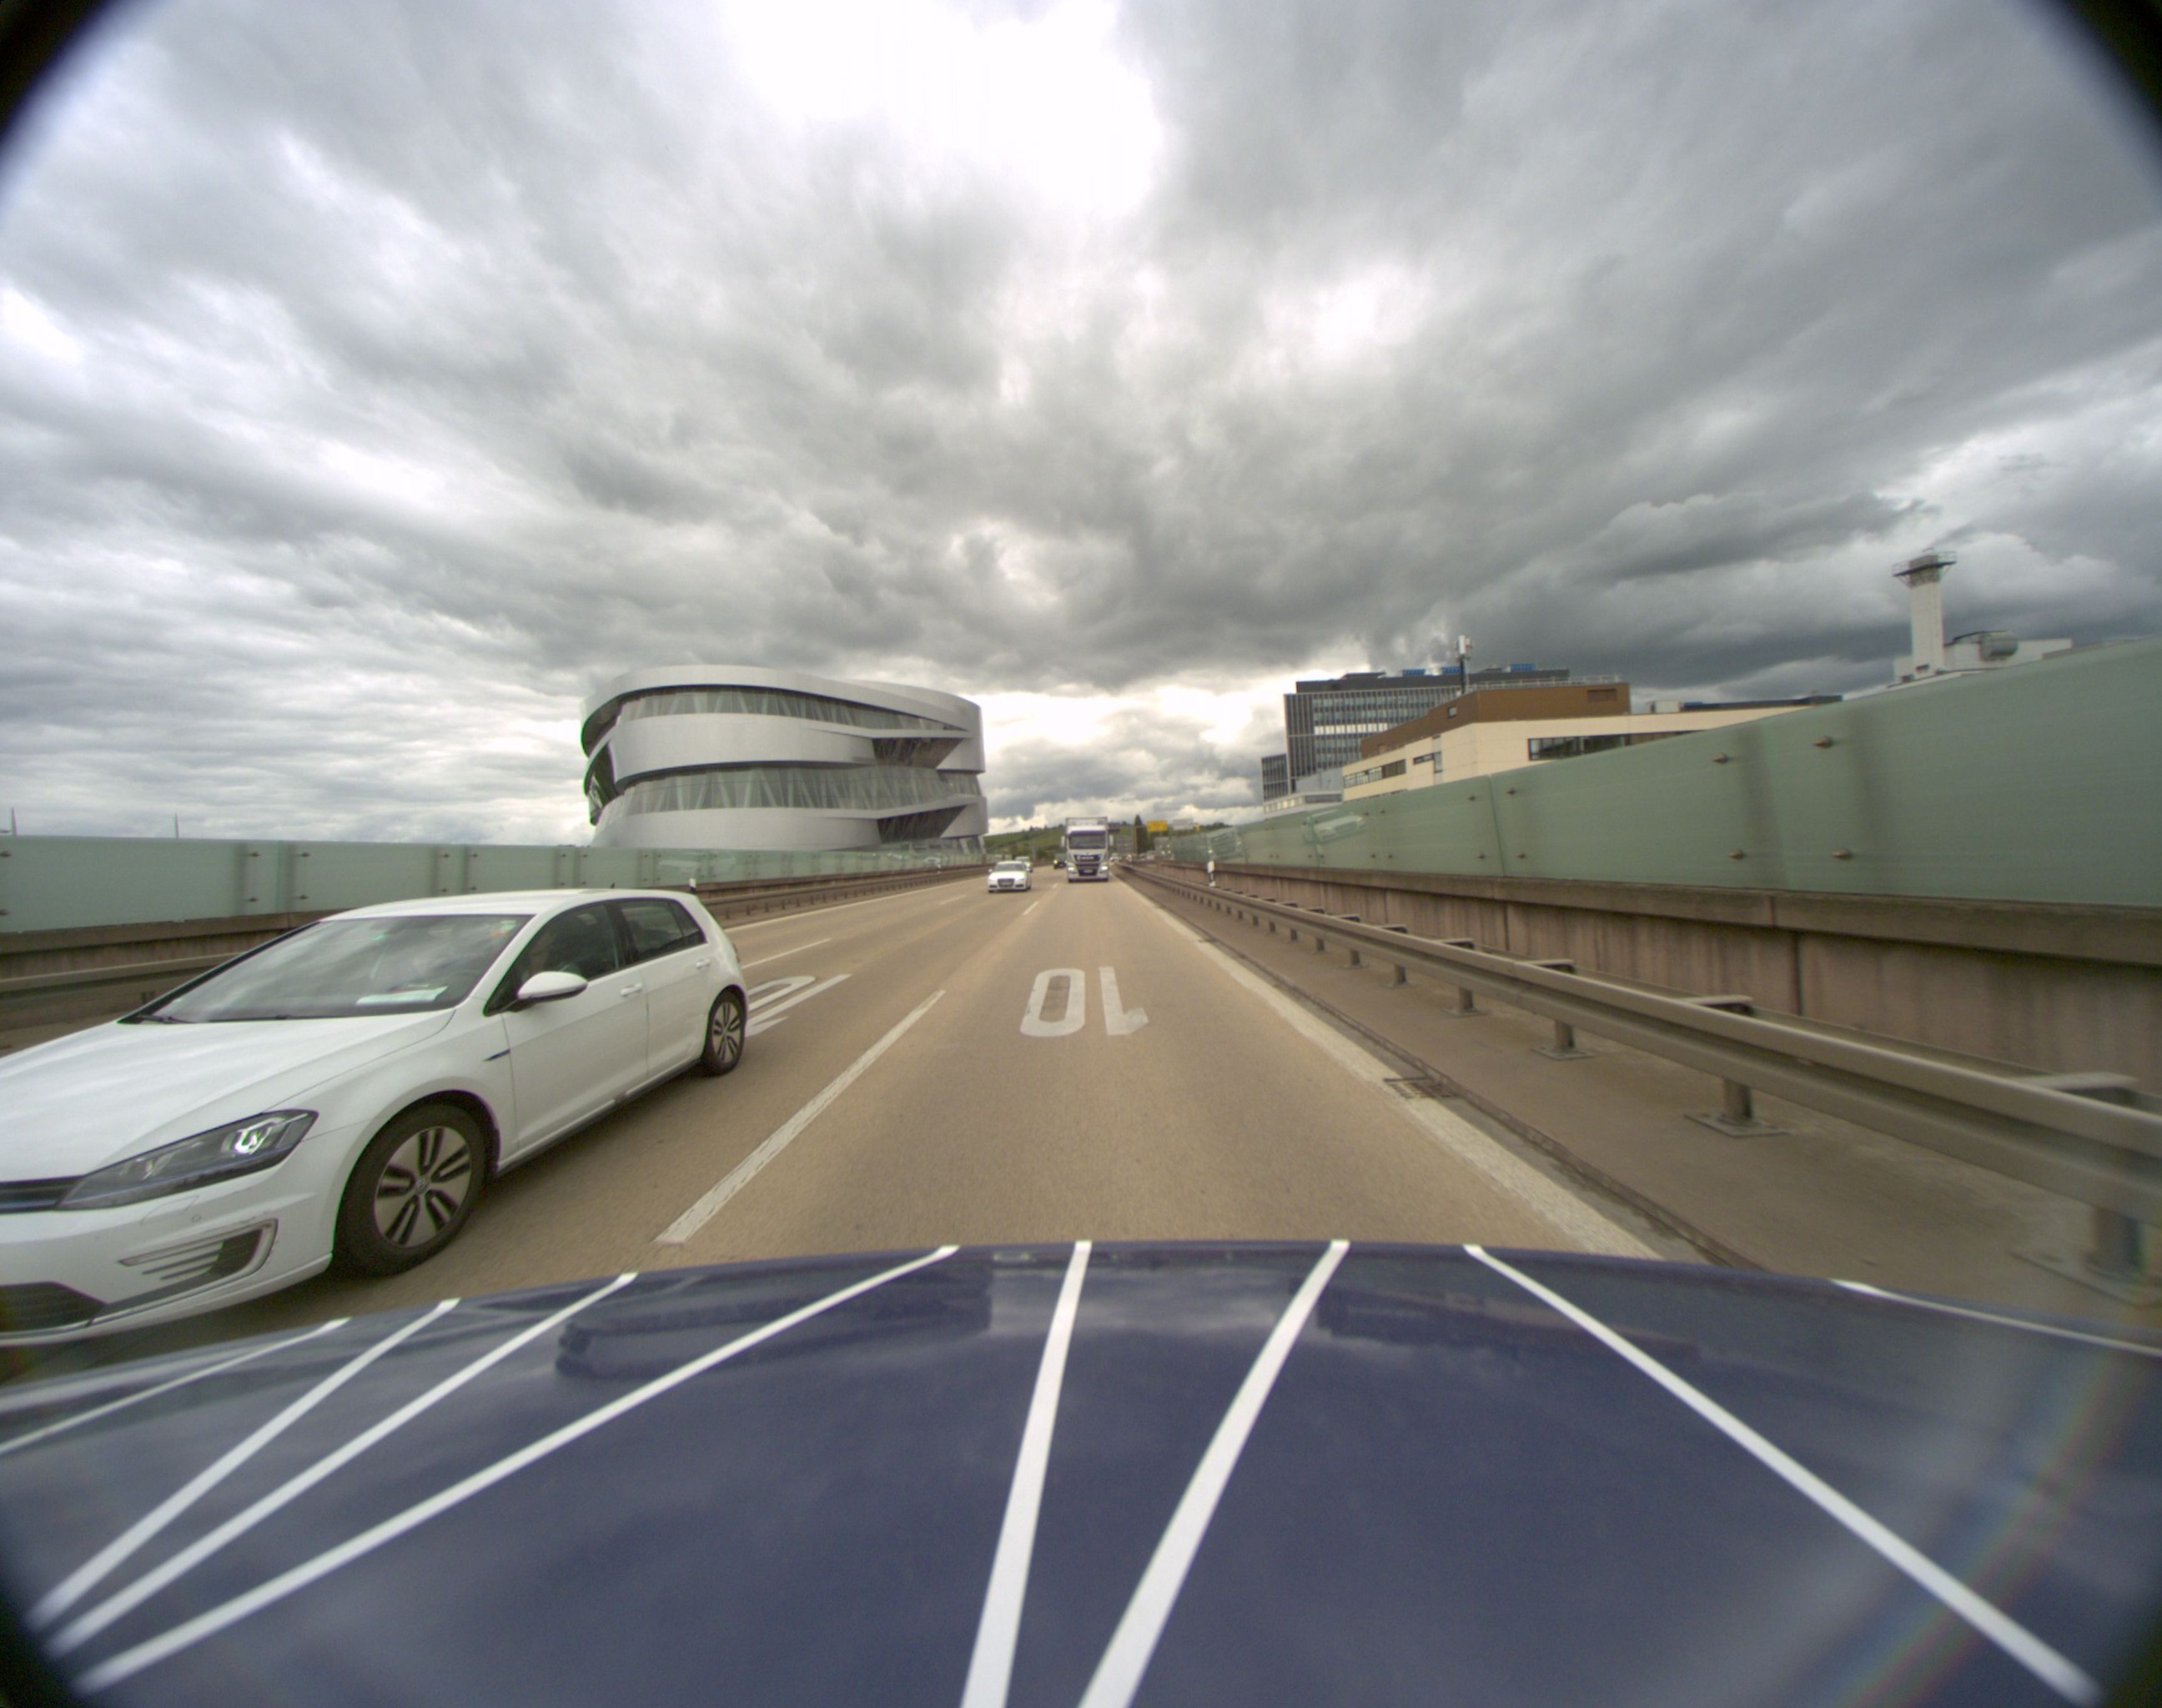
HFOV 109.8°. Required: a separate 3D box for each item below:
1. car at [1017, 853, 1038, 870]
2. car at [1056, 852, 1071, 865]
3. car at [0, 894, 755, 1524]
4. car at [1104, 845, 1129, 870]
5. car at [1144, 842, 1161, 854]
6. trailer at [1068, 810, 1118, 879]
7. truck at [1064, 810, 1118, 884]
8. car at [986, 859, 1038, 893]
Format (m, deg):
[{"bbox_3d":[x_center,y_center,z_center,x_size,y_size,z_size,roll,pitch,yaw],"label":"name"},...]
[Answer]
[{"bbox_3d":[-5.497,0.781,78.160,1.785,1.624,3.627,-2,1,1],"label":"car"},{"bbox_3d":[-2.201,0.562,97.252,1.765,1.624,3.627,-2,1,1],"label":"car"},{"bbox_3d":[-3.505,1.063,4.030,1.759,1.443,4.072,-1,0,0],"label":"car"},{"bbox_3d":[3.068,0.284,66.952,1.998,2.002,3.999,-2,1,0],"label":"car"},{"bbox_3d":[10.022,-0.831,106.787,1.849,1.663,4.407,-2,0,-1],"label":"car"},{"bbox_3d":[0.935,-0.606,51.972,2.879,4.104,11.220,-2,0,2],"label":"trailer"},{"bbox_3d":[0.710,-0.425,46.726,2.946,4.136,6.292,-2,0,3],"label":"truck"},{"bbox_3d":[-3.210,0.994,36.193,1.848,1.443,3.933,-2,0,3],"label":"car"}]
